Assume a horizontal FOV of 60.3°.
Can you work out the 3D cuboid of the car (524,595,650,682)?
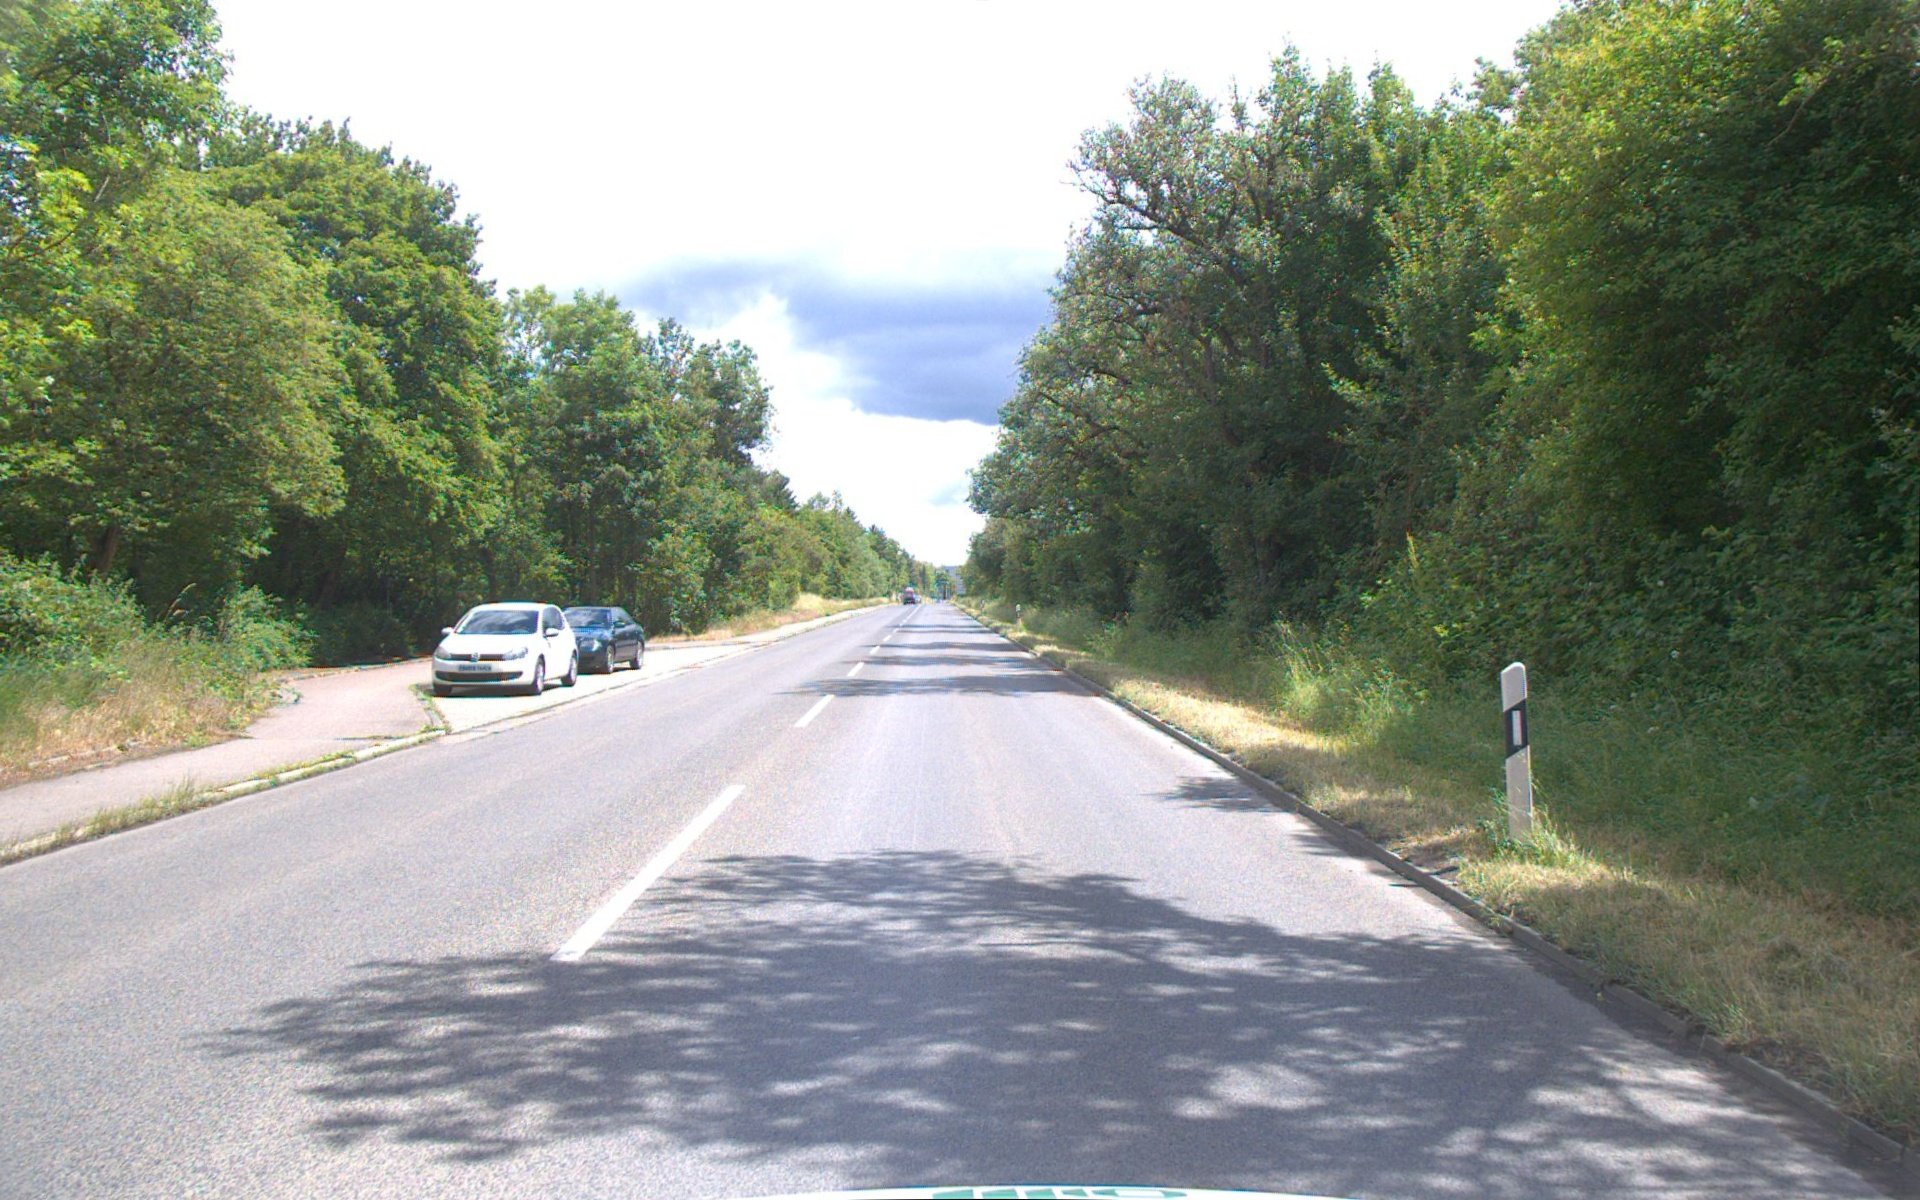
[{"bbox_3d":[-7.987,0.777,35.759,1.761,1.653,3.955,-1,1,0],"label":"car"}]

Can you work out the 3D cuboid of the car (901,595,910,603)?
[{"bbox_3d":[-8.232,-0.110,250.847,1.363,1.221,3.015,-1,0,-1],"label":"car"}]

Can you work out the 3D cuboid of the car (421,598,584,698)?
[{"bbox_3d":[-7.755,0.757,28.390,1.761,1.570,3.954,0,0,-1],"label":"car"}]
